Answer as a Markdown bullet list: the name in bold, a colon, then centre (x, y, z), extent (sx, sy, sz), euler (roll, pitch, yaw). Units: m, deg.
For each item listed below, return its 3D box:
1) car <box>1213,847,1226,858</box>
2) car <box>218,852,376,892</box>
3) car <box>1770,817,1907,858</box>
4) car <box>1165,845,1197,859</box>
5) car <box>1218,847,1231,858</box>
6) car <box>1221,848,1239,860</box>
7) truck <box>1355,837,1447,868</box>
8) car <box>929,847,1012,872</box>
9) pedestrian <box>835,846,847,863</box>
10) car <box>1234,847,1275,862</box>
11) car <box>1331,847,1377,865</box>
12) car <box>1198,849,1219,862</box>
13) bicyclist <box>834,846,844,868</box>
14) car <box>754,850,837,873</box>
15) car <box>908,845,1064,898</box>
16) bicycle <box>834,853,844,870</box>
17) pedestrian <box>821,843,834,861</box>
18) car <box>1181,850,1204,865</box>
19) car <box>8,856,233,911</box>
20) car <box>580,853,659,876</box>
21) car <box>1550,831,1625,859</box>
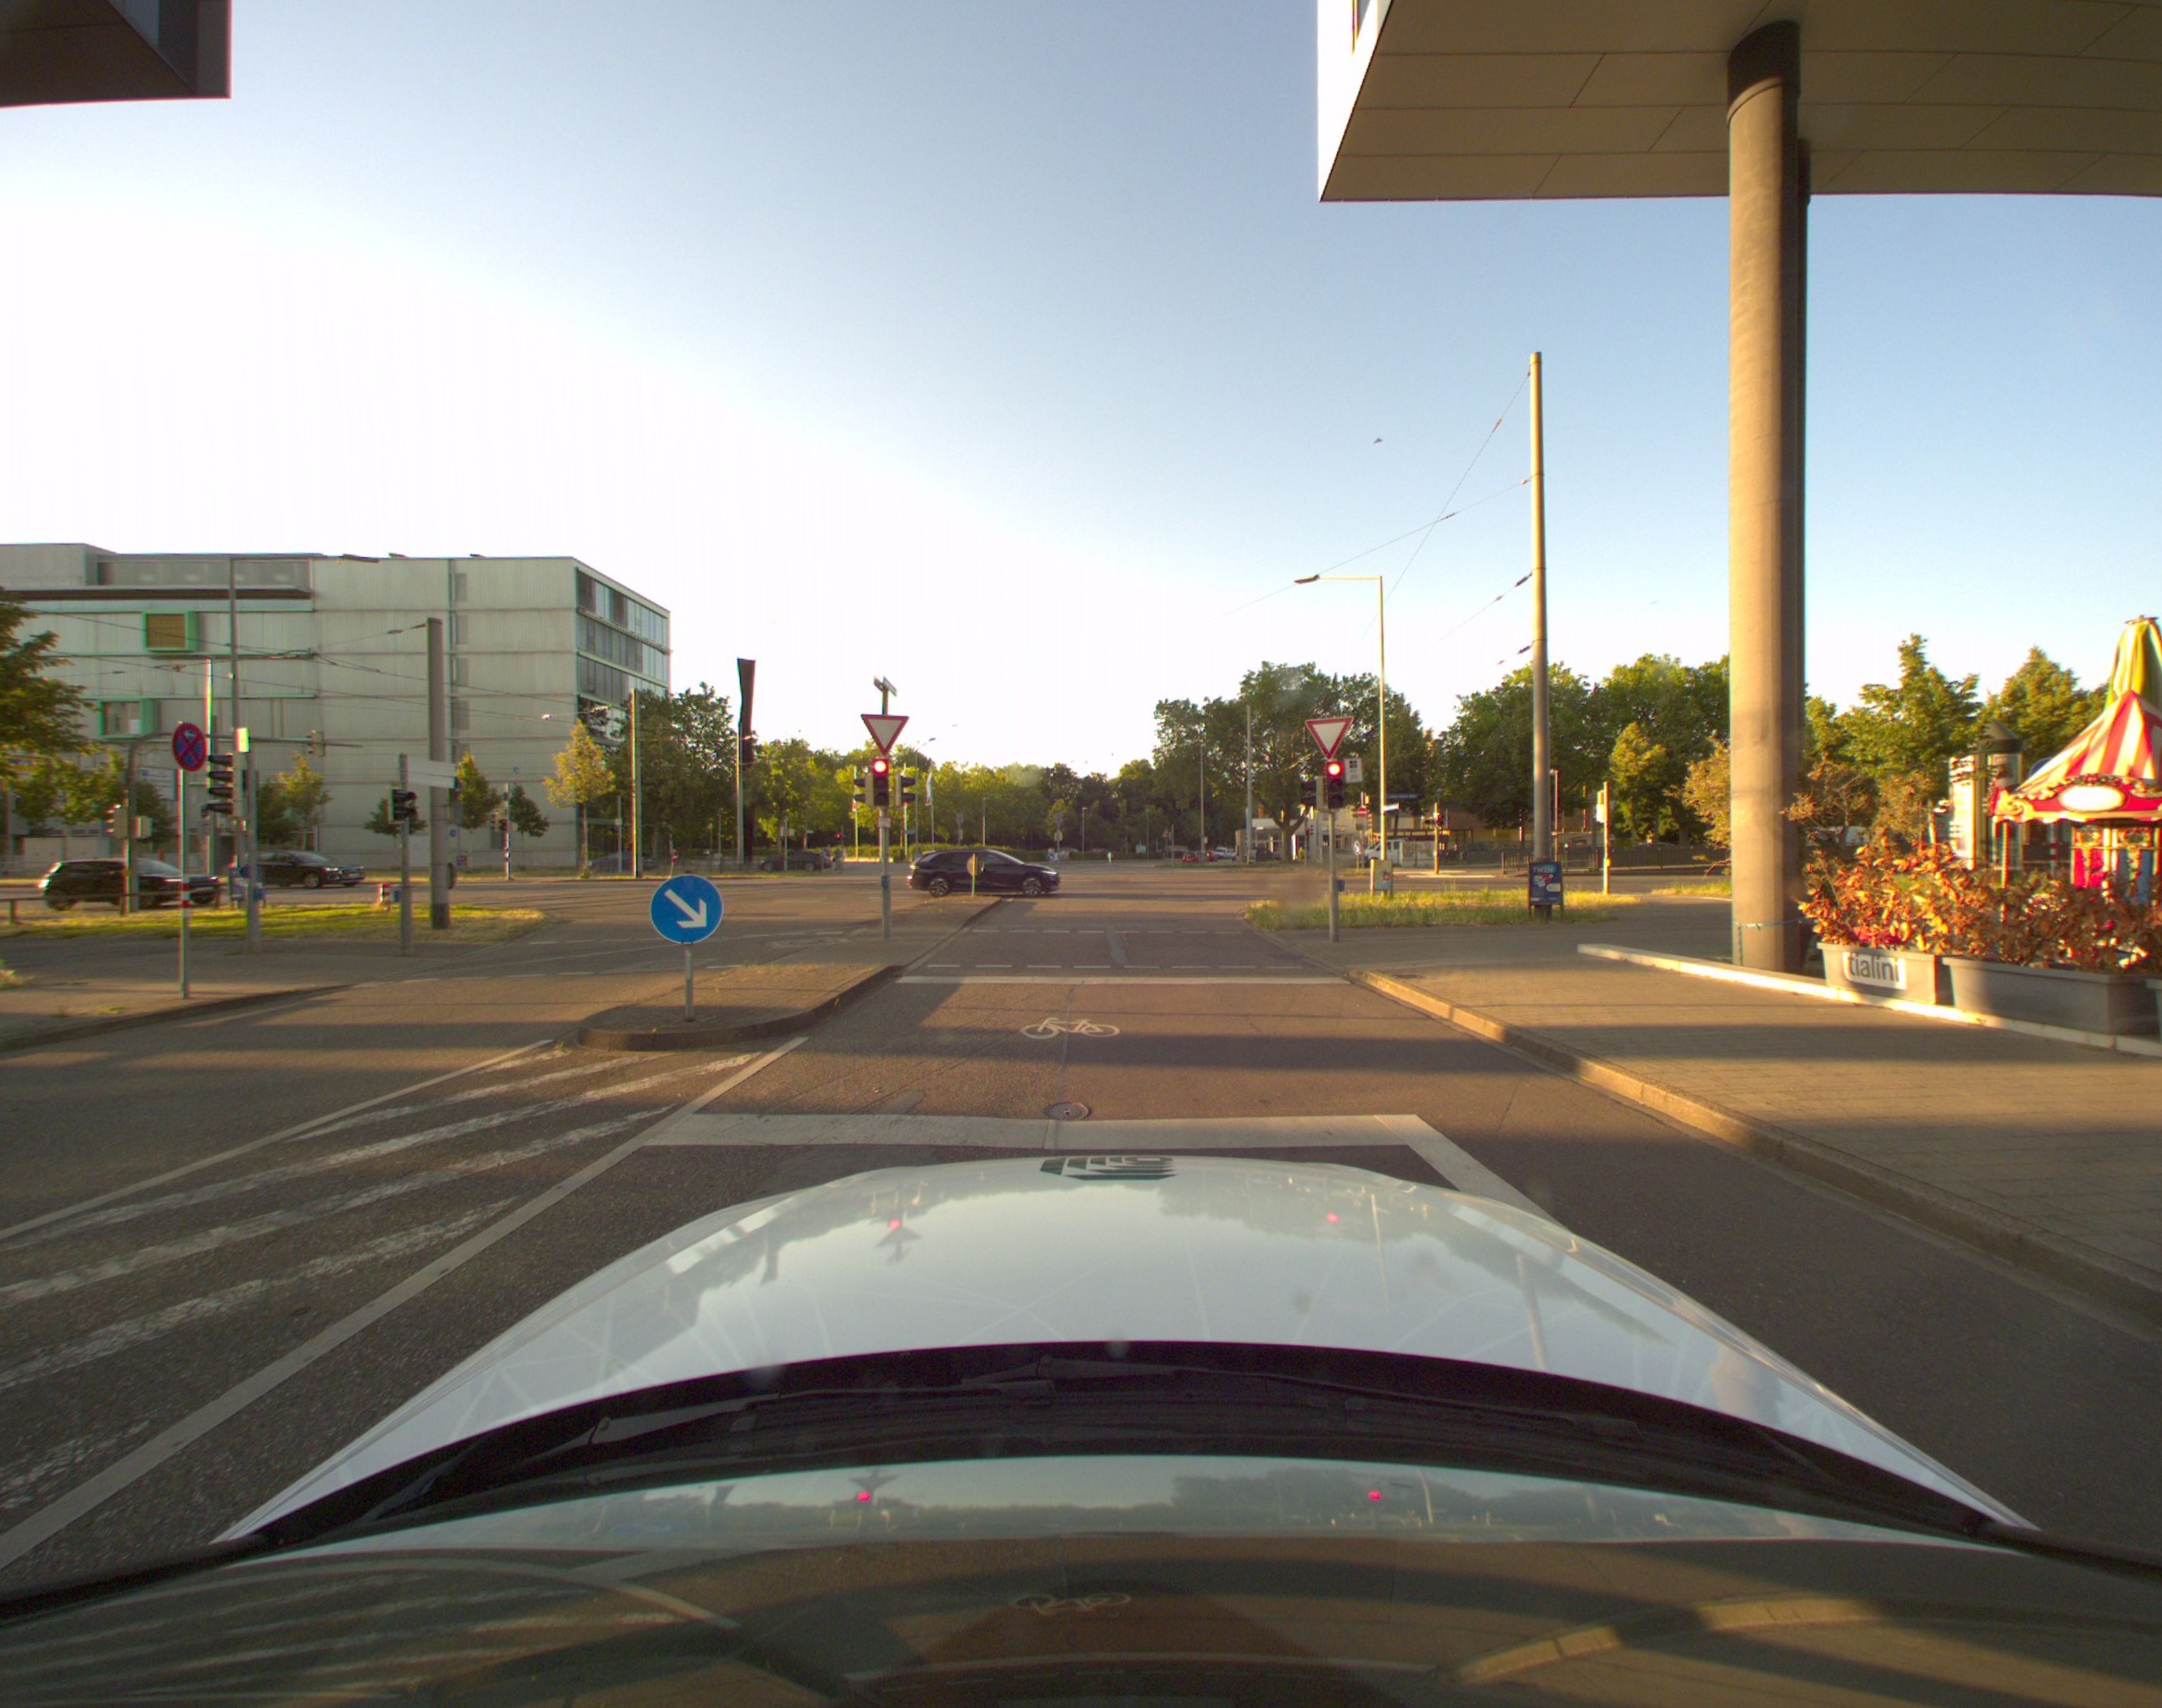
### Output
- **car**: centre (22.264, -0.243, 130.877), extent (1.850, 1.794, 4.013), euler (-1, -1, 12)
- **car**: centre (-32.513, 0.737, 33.892), extent (4.467, 1.557, 1.986), euler (-1, 0, -4)
- **car**: centre (52.710, -1.105, 56.801), extent (6.892, 2.636, 2.812), euler (-1, -1, 1)
- **car**: centre (15.410, -0.325, 125.726), extent (4.753, 2.006, 2.002), euler (-1, -1, 3)
- **car**: centre (23.927, -0.250, 135.735), extent (1.849, 1.794, 4.015), euler (-1, -1, 14)
- **car**: centre (21.082, 0.005, 115.297), extent (1.978, 1.662, 4.018), euler (-1, -1, 17)
- **truck**: centre (22.091, -0.114, 56.411), extent (5.535, 2.054, 2.069), euler (-1, 0, 2)
- **car**: centre (-7.255, 0.395, 53.855), extent (5.206, 1.552, 2.000), euler (-1, -1, 1)
- **pedestrian**: centre (-24.430, 0.026, 82.797), extent (0.852, 1.744, 0.835), euler (-1, 0, 33)
- **car**: centre (18.918, 0.018, 88.897), extent (4.194, 1.552, 2.005), euler (-1, -1, 9)
- **car**: centre (24.038, 0.188, 71.811), extent (3.715, 1.440, 1.669), euler (-1, -1, 11)
- **car**: centre (16.202, 0.220, 103.176), extent (1.978, 1.662, 4.018), euler (-1, -1, 17)
- **bicyclist**: centre (-18.977, 0.235, 63.851), extent (0.753, 1.709, 0.914), euler (-1, 0, -20)
- **car**: centre (-20.172, 0.539, 57.694), extent (5.082, 1.552, 2.000), euler (-1, -1, 1)
- **car**: centre (-3.035, 0.537, 26.826), extent (4.893, 1.614, 1.999), euler (-1, 0, -1)
- **bicycle**: centre (-19.029, 0.590, 64.028), extent (0.732, 1.341, 2.675), euler (-1, 0, -17)
- **pedestrian**: centre (-25.381, -0.206, 81.558), extent (0.852, 1.744, 0.835), euler (-1, 0, 28)
- **car**: centre (13.099, 0.382, 95.556), extent (1.978, 1.662, 4.018), euler (-1, -1, 17)
- **car**: centre (-29.766, 0.885, 25.371), extent (4.424, 1.574, 1.998), euler (-1, 0, -3)
- **car**: centre (-32.564, 0.759, 57.585), extent (4.454, 1.552, 2.001), euler (-1, -1, 3)
- **car**: centre (47.862, -0.831, 77.070), extent (5.561, 2.551, 2.235), euler (-1, 0, 9)
